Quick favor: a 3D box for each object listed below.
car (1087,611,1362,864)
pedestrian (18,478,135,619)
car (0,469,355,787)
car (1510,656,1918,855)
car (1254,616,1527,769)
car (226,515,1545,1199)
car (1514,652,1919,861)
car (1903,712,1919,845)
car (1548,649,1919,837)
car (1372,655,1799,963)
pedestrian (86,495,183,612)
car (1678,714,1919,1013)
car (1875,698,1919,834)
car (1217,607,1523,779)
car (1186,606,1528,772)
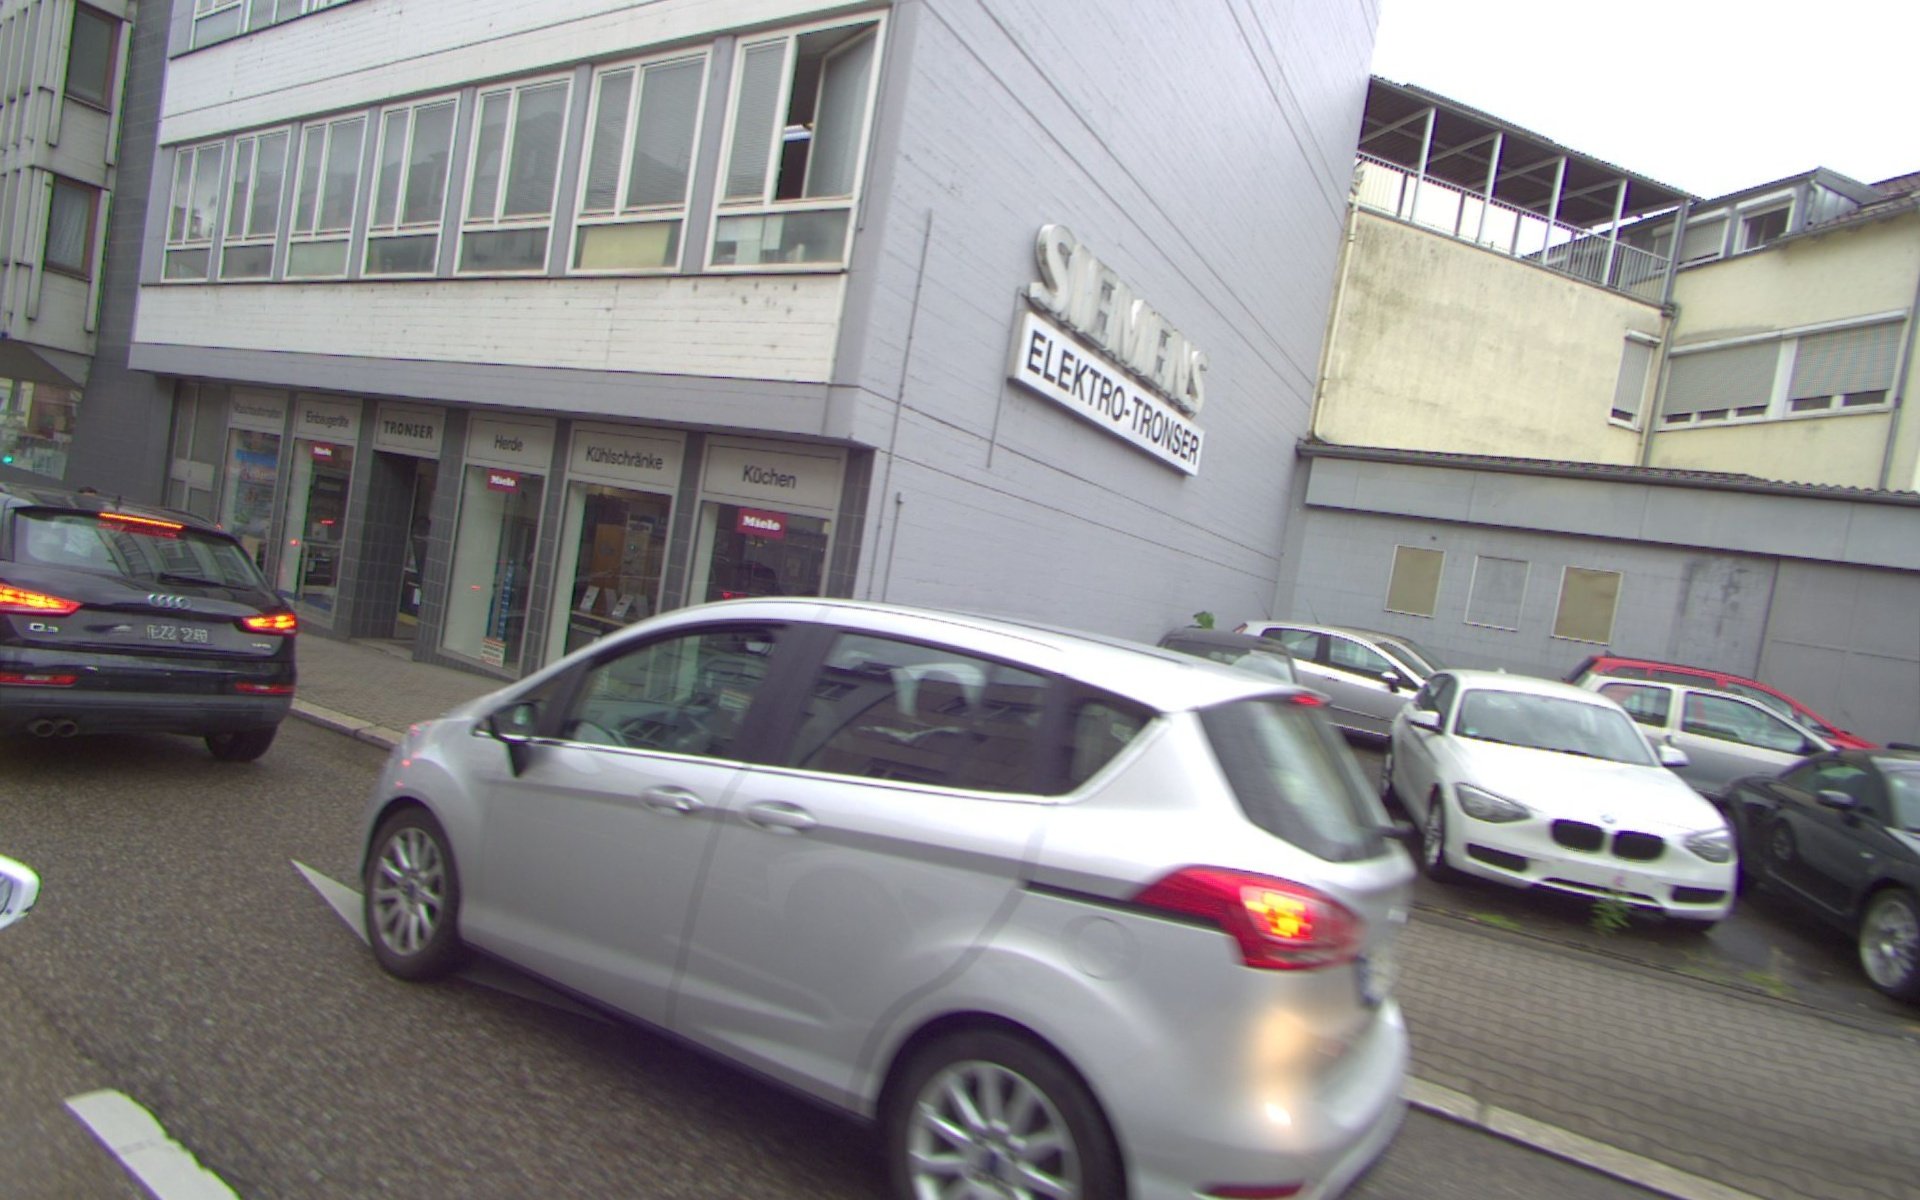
[{"bbox_3d":[2.414,0.991,9.196,1.765,1.470,3.995,7,3,16],"label":"car"},{"bbox_3d":[-11.614,-0.670,13.222,1.102,1.729,0.784,7,3,29],"label":"pedestrian"},{"bbox_3d":[-6.140,0.034,6.692,4.132,1.577,1.827,6,-3,32],"label":"car"},{"bbox_3d":[9.586,1.886,13.195,3.885,1.752,1.790,7,0,33],"label":"car"},{"bbox_3d":[7.343,1.507,17.255,3.885,1.934,1.790,7,0,33],"label":"car"},{"bbox_3d":[-0.436,0.786,3.623,4.179,1.557,1.832,7,-3,29],"label":"car"},{"bbox_3d":[8.554,1.638,11.658,3.462,1.622,1.788,7,3,33],"label":"car"},{"bbox_3d":[13.559,2.361,11.309,3.885,1.752,1.790,7,0,33],"label":"car"},{"bbox_3d":[11.215,1.977,14.924,4.039,1.934,1.790,7,0,33],"label":"car"},{"bbox_3d":[4.545,1.345,8.053,1.730,1.548,4.001,7,0,17],"label":"car"},{"bbox_3d":[-11.843,-0.658,14.437,0.876,1.572,0.765,7,3,29],"label":"pedestrian"},{"bbox_3d":[6.552,1.712,6.676,1.640,1.418,4.001,7,0,18],"label":"car"},{"bbox_3d":[14.603,2.430,12.861,3.885,1.752,1.790,7,0,33],"label":"car"},{"bbox_3d":[6.224,1.333,15.395,3.885,1.922,1.790,7,0,33],"label":"car"},{"bbox_3d":[5.284,1.083,13.548,3.885,1.543,1.788,7,2,33],"label":"car"}]
